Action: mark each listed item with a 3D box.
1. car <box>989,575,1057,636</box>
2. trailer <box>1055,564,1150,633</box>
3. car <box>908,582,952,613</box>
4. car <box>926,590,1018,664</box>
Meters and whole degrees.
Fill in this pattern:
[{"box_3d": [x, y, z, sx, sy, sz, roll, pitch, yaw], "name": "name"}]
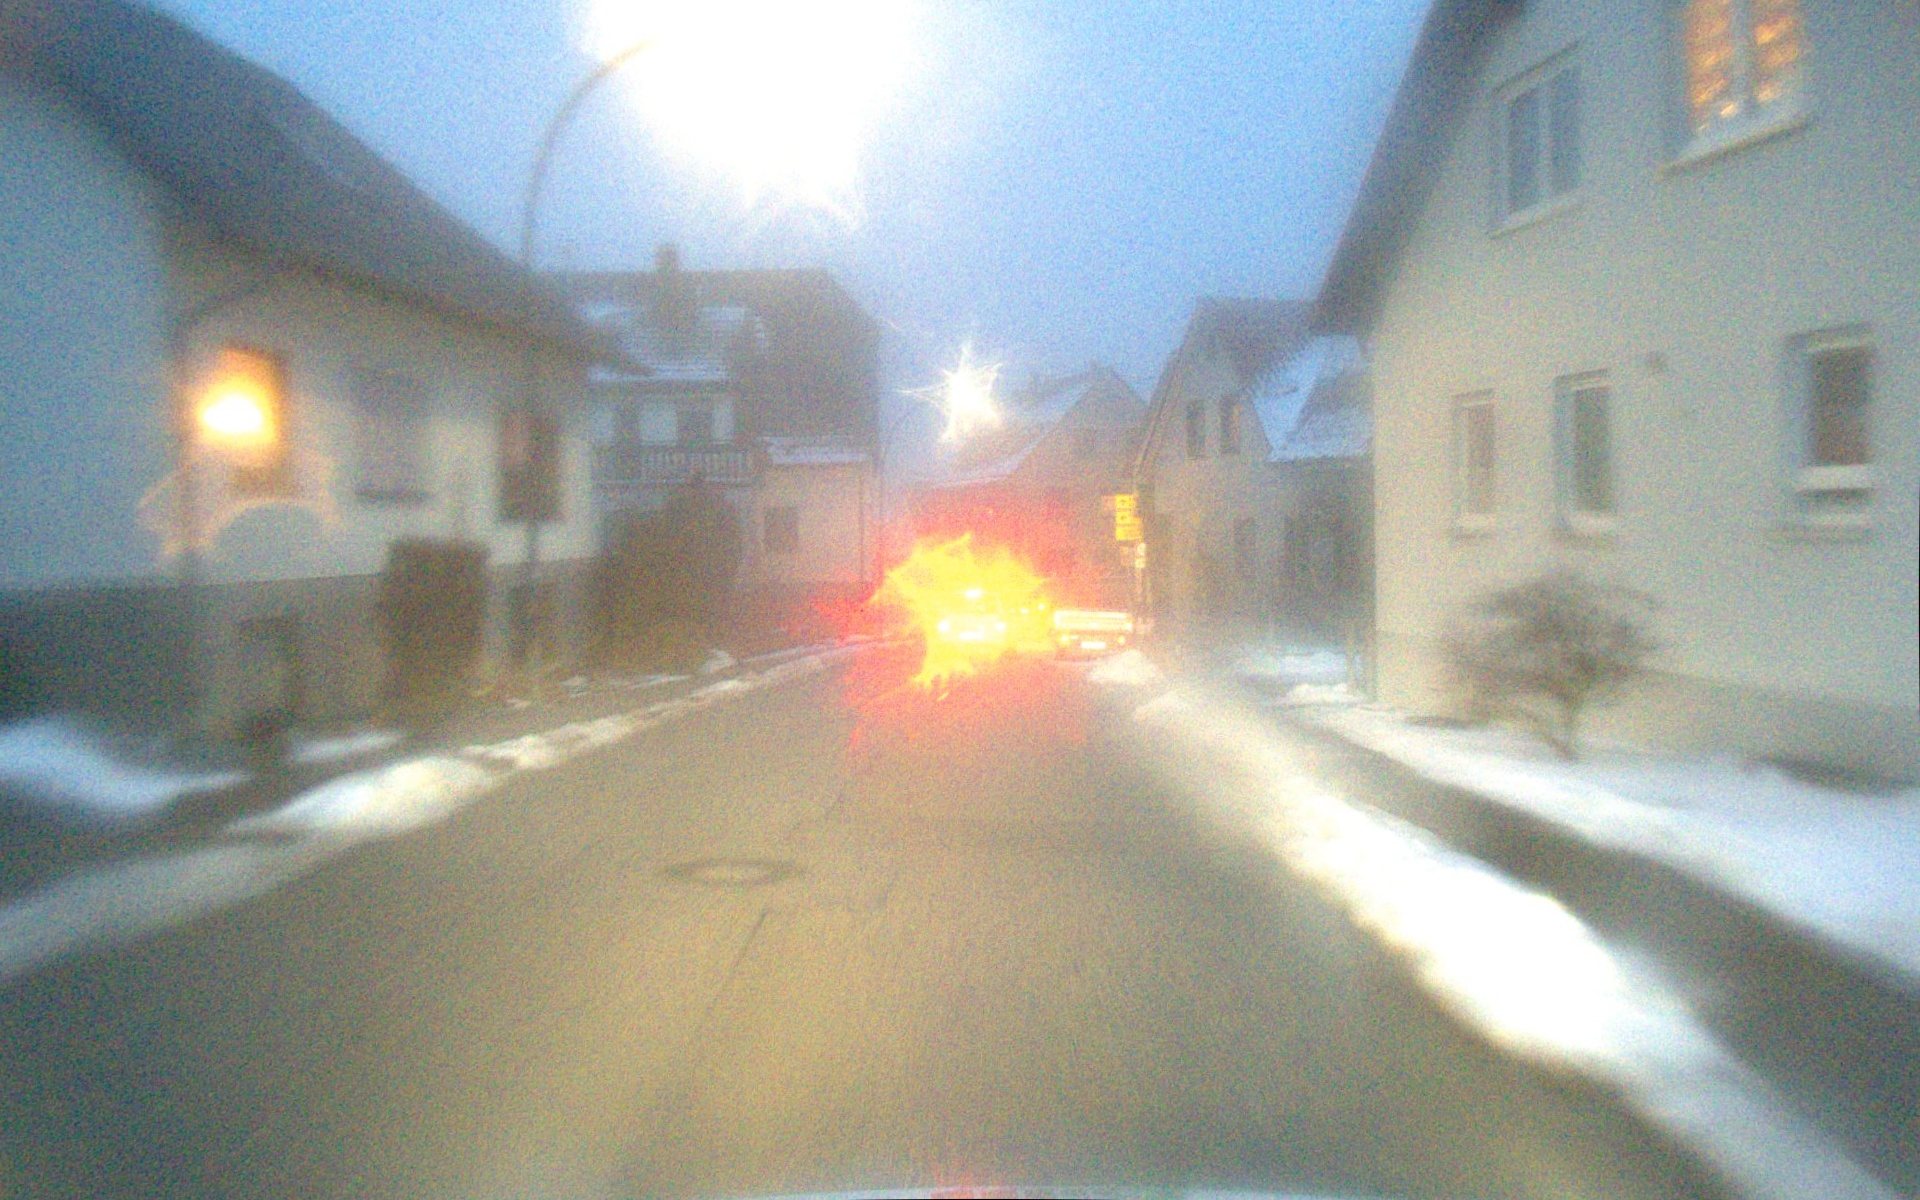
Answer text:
[{"box_3d": [1.900, 0.179, 50.770, 1.952, 1.758, 4.000, 1, -1, 1], "name": "car"}, {"box_3d": [3.206, -0.068, 37.001, 1.951, 1.412, 4.735, 1, 1, 5], "name": "trailer"}, {"box_3d": [-1.606, -0.151, 87.301, 1.874, 1.506, 4.276, -1, 1, -6], "name": "car"}, {"box_3d": [0.308, 0.588, 37.172, 1.952, 1.534, 4.000, 1, -1, 1], "name": "car"}]
